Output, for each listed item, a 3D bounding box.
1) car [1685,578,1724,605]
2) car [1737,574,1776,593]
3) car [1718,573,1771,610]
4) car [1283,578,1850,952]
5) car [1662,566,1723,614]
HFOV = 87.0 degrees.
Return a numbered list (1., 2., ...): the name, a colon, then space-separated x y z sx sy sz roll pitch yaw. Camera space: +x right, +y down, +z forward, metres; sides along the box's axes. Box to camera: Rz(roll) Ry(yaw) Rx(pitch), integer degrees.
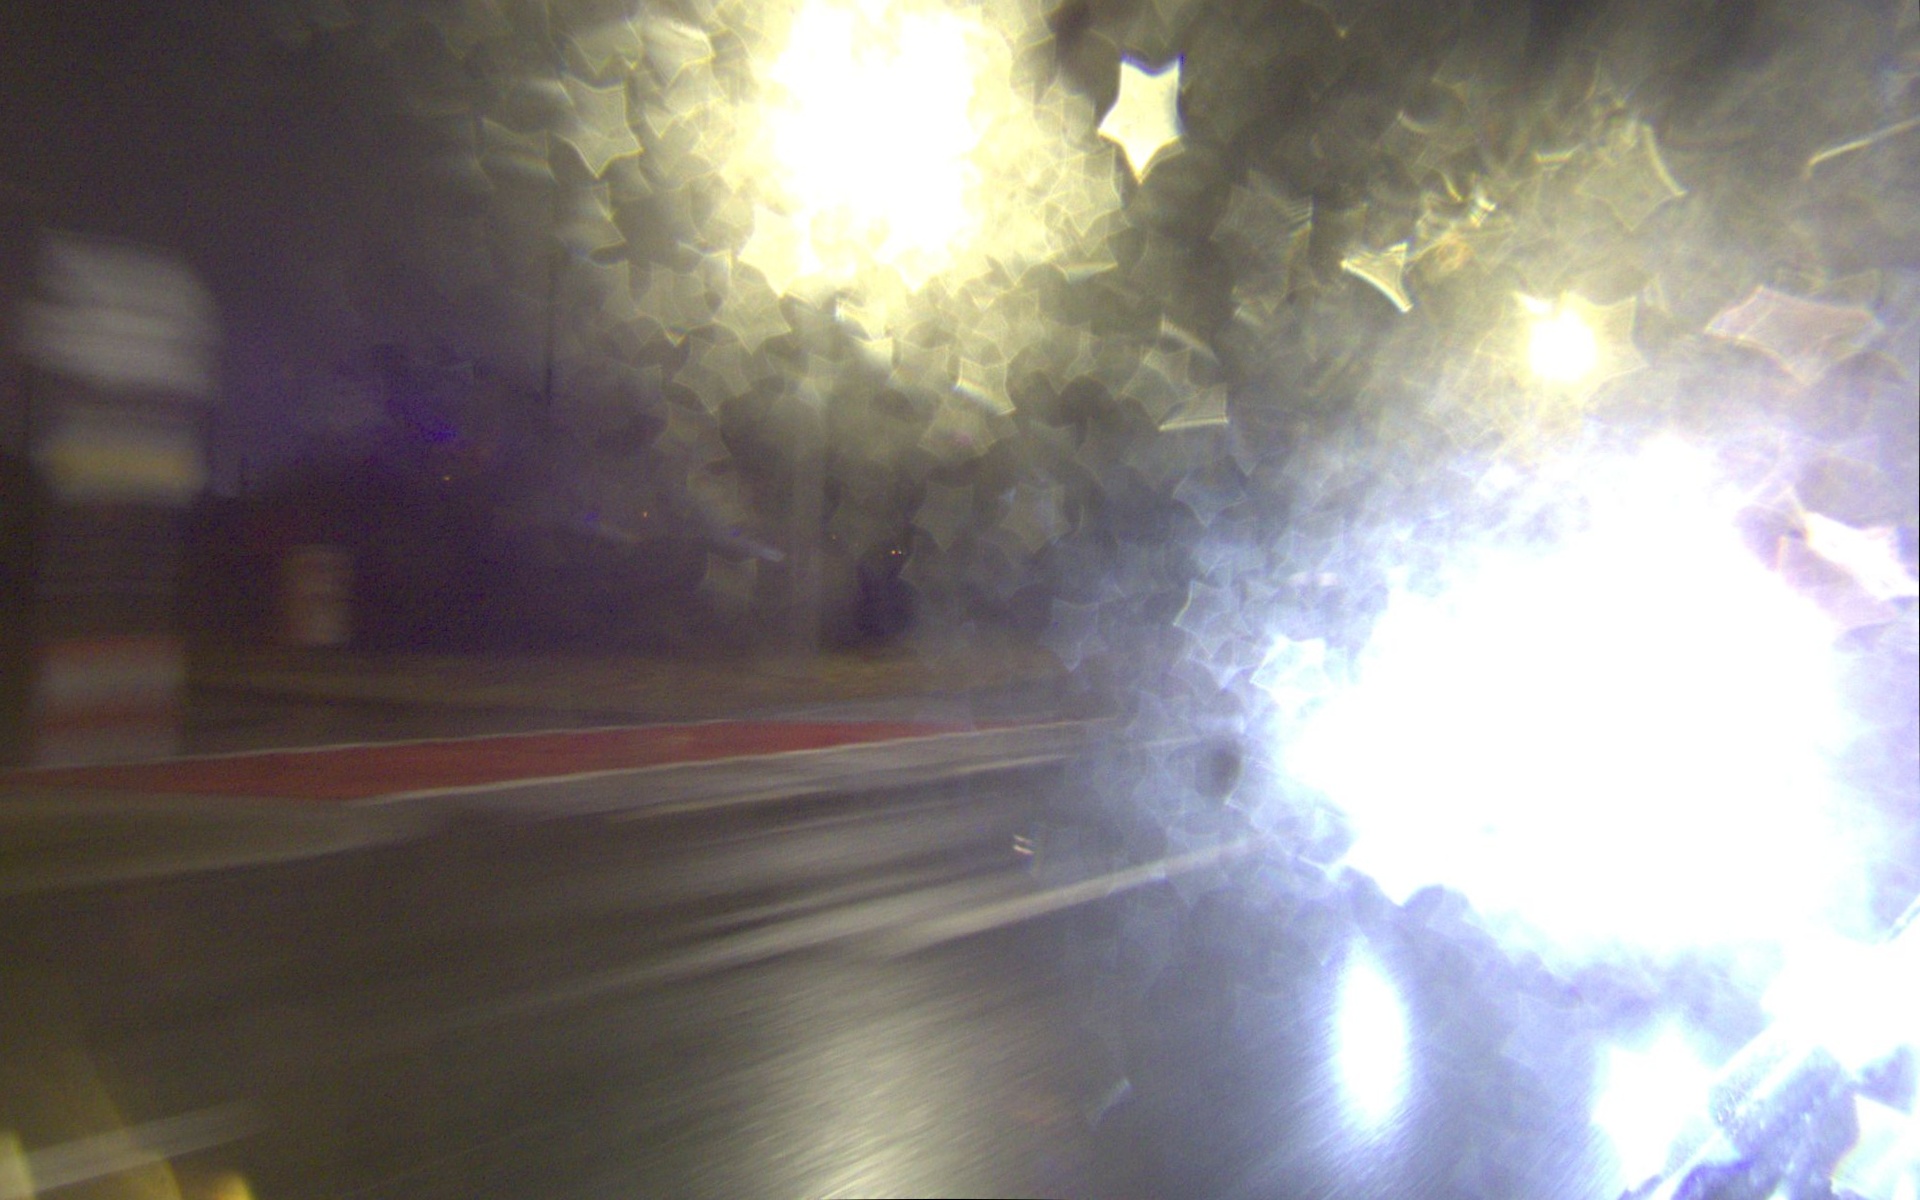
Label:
1. car: 57.833 -0.659 78.660 1.985 1.957 3.956 4 2 31
2. car: 65.734 -1.365 83.540 1.754 1.475 3.916 -1 1 27
3. car: 45.122 -0.494 58.167 1.994 1.957 3.938 5 3 42
4. car: 3.923 0.692 6.272 3.932 1.544 1.996 0 -1 -43
5. car: 30.274 -0.433 41.798 1.927 1.896 3.946 0 1 38
